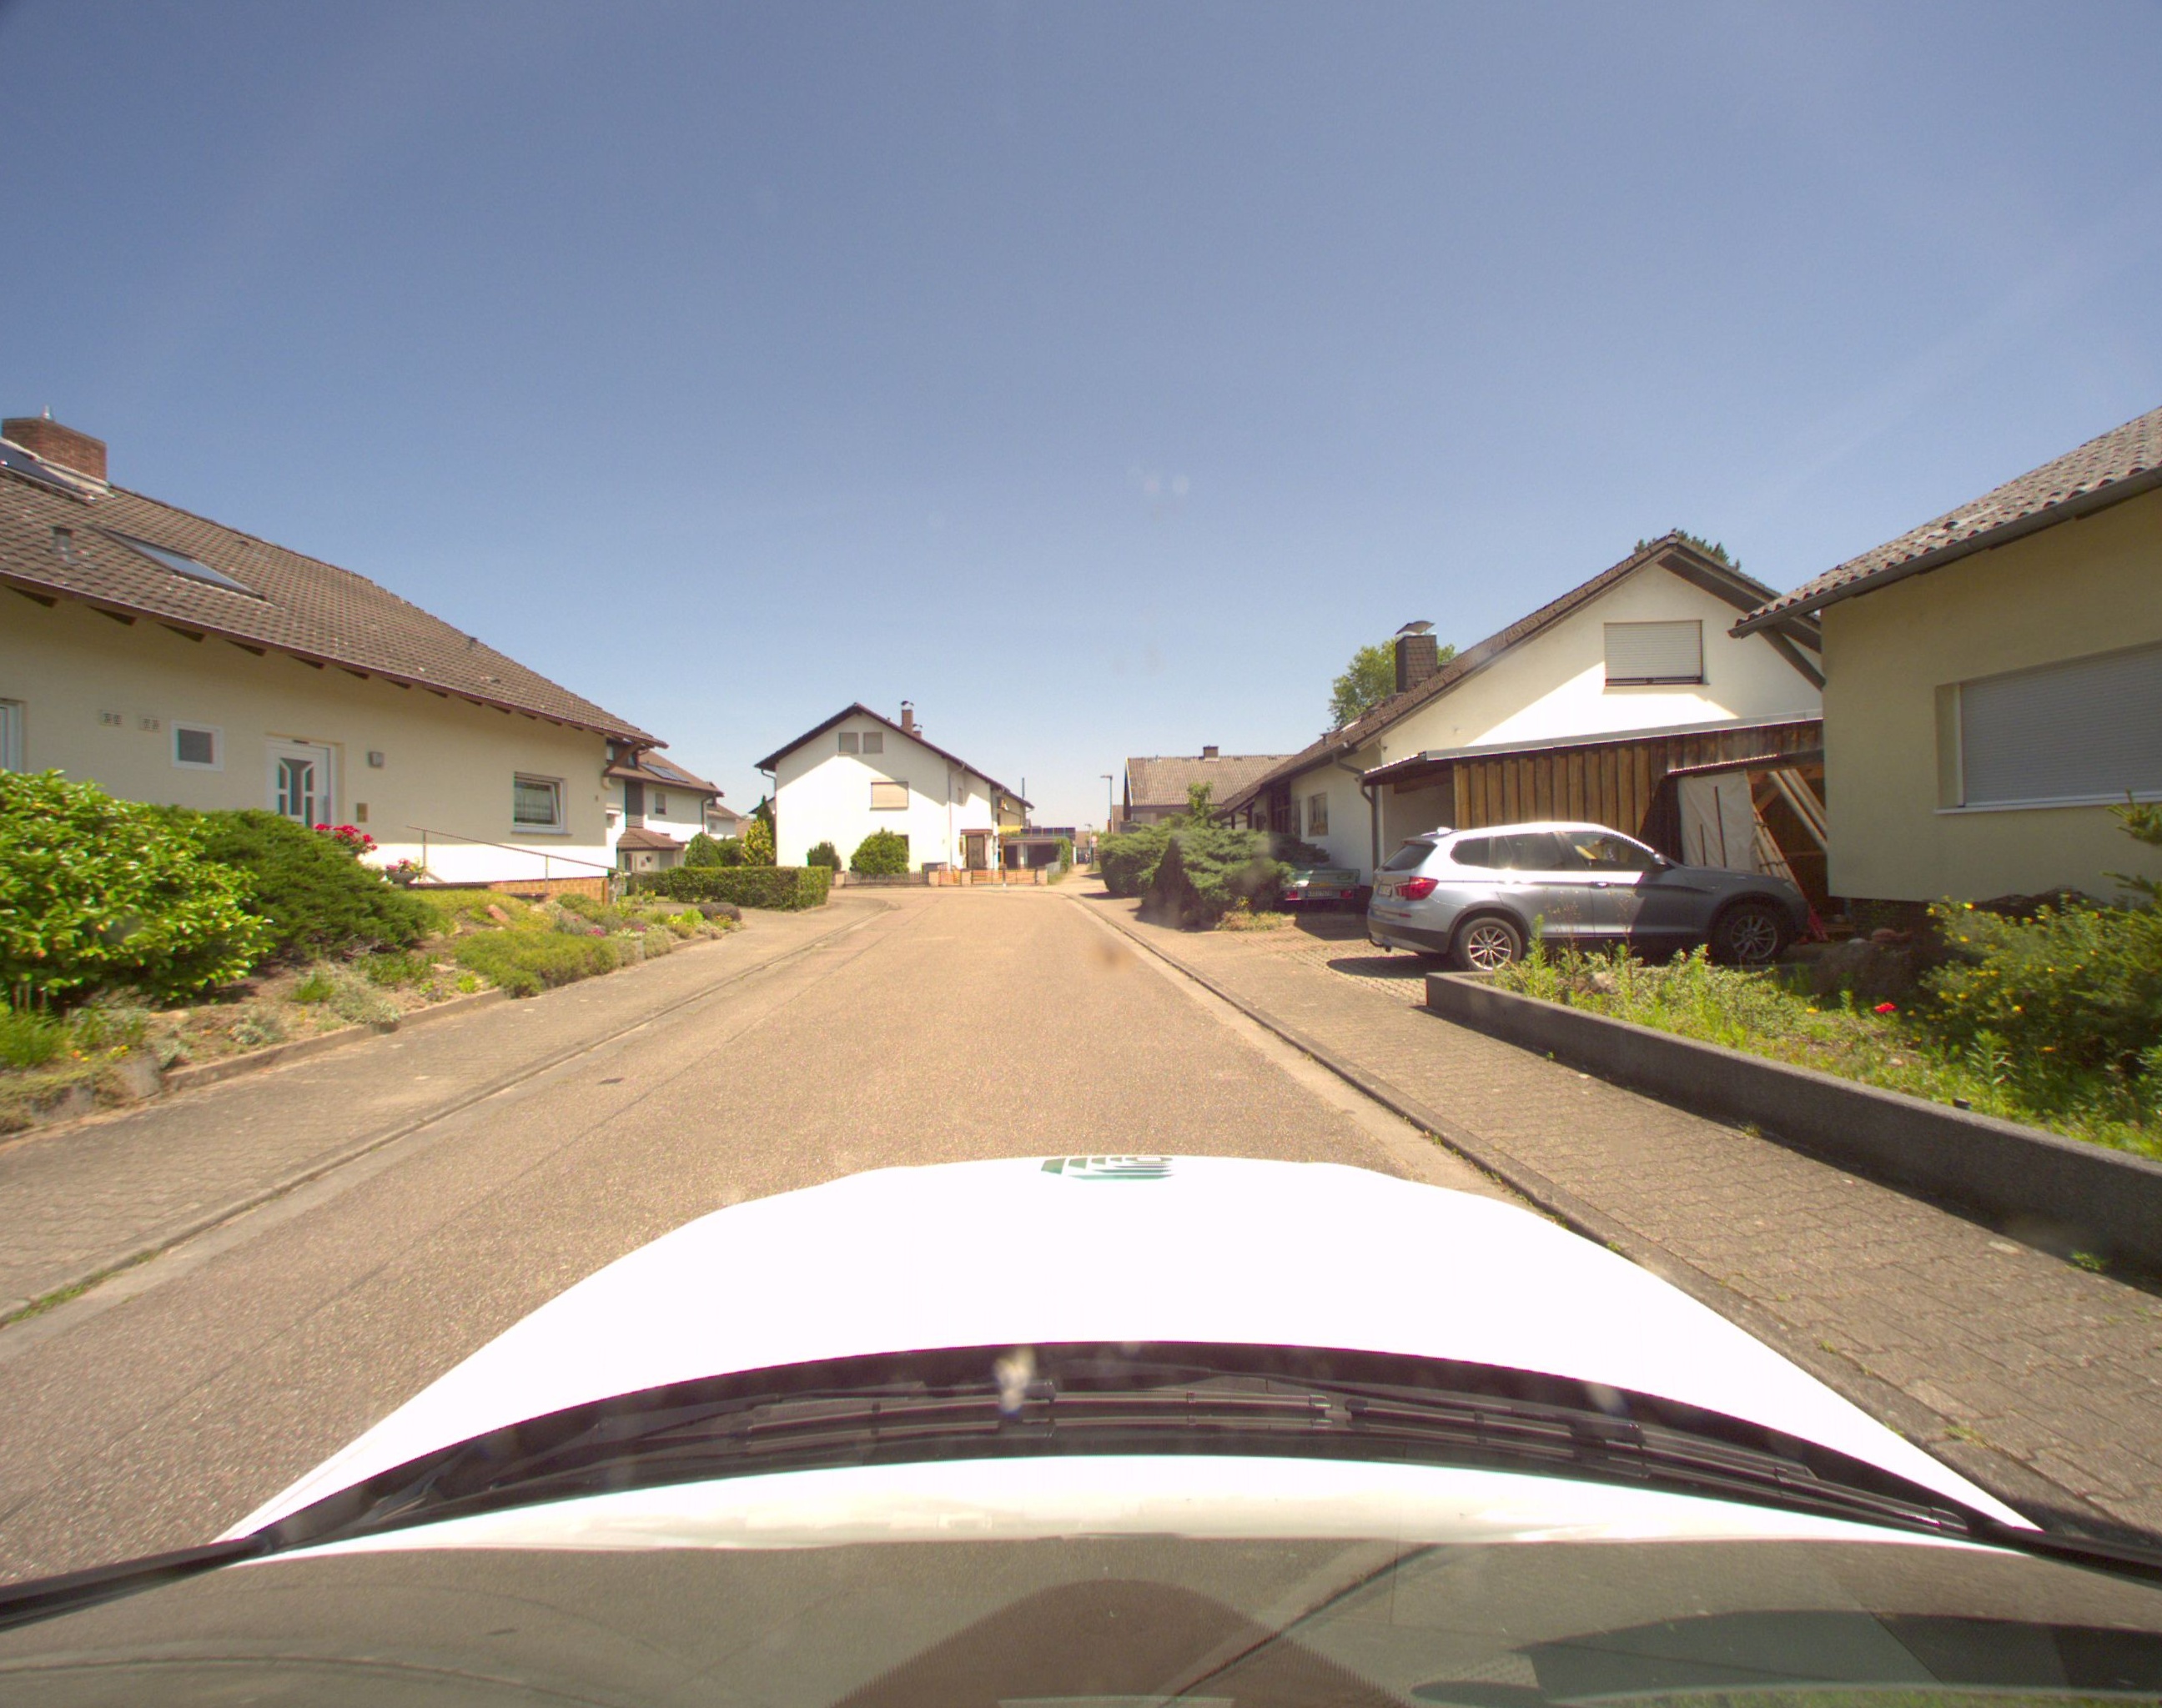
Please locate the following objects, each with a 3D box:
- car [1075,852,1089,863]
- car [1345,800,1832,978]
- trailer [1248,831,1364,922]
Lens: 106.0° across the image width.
[{"bbox_3d":[0.211,0.627,135.468,2.185,1.701,3.809,-2,0,2],"label":"car"},{"bbox_3d":[5.729,0.395,9.677,4.607,1.702,1.711,-3,0,4],"label":"car"},{"bbox_3d":[4.656,0.412,17.303,1.581,1.672,3.298,-3,0,2],"label":"trailer"}]
